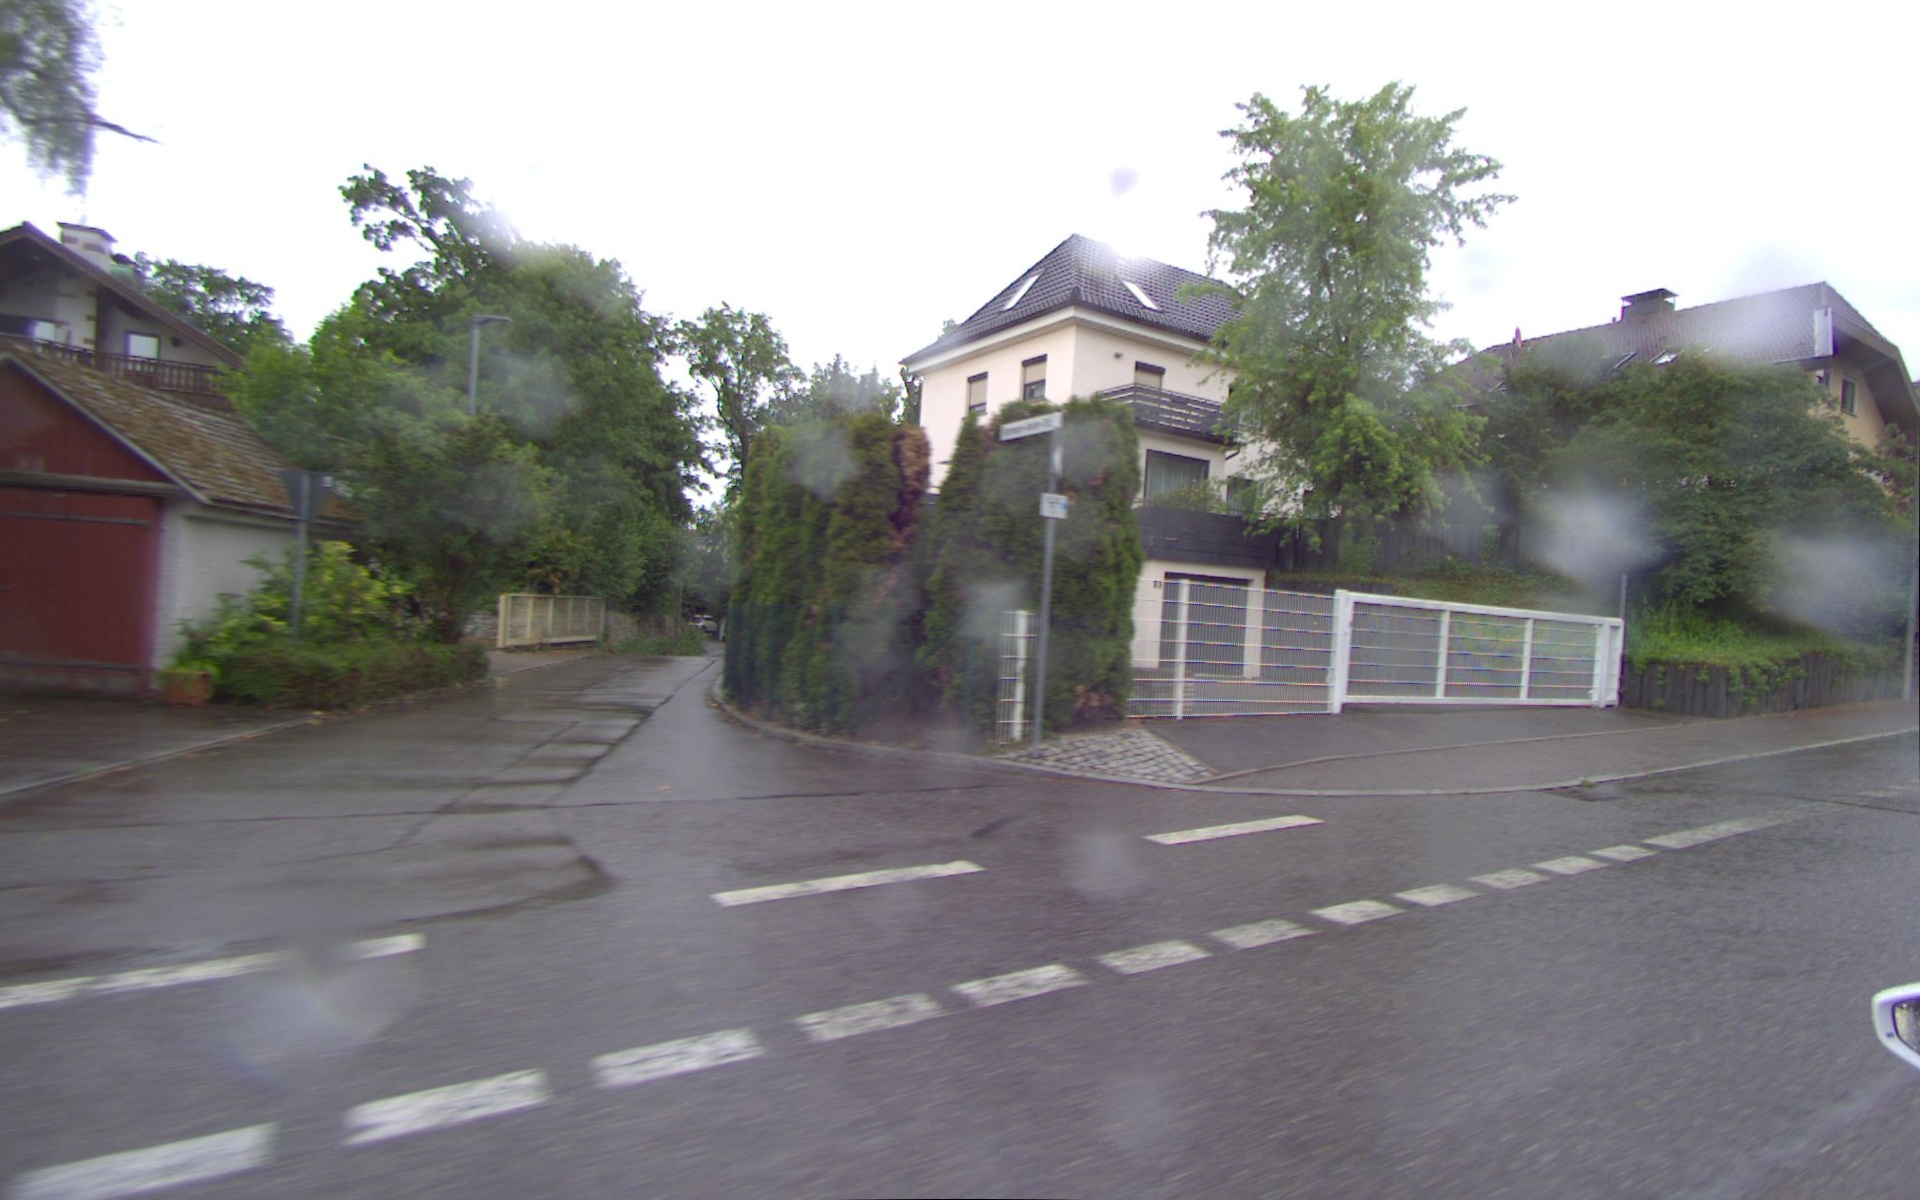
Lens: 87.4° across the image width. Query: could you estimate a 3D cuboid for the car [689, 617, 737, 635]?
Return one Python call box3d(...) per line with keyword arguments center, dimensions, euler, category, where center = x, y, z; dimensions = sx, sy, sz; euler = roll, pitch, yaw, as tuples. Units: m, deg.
box3d(center=(-21.399, 2.223, 87.061), dimensions=(1.740, 1.498, 3.925), euler=(1, 0, 32), category="car")
